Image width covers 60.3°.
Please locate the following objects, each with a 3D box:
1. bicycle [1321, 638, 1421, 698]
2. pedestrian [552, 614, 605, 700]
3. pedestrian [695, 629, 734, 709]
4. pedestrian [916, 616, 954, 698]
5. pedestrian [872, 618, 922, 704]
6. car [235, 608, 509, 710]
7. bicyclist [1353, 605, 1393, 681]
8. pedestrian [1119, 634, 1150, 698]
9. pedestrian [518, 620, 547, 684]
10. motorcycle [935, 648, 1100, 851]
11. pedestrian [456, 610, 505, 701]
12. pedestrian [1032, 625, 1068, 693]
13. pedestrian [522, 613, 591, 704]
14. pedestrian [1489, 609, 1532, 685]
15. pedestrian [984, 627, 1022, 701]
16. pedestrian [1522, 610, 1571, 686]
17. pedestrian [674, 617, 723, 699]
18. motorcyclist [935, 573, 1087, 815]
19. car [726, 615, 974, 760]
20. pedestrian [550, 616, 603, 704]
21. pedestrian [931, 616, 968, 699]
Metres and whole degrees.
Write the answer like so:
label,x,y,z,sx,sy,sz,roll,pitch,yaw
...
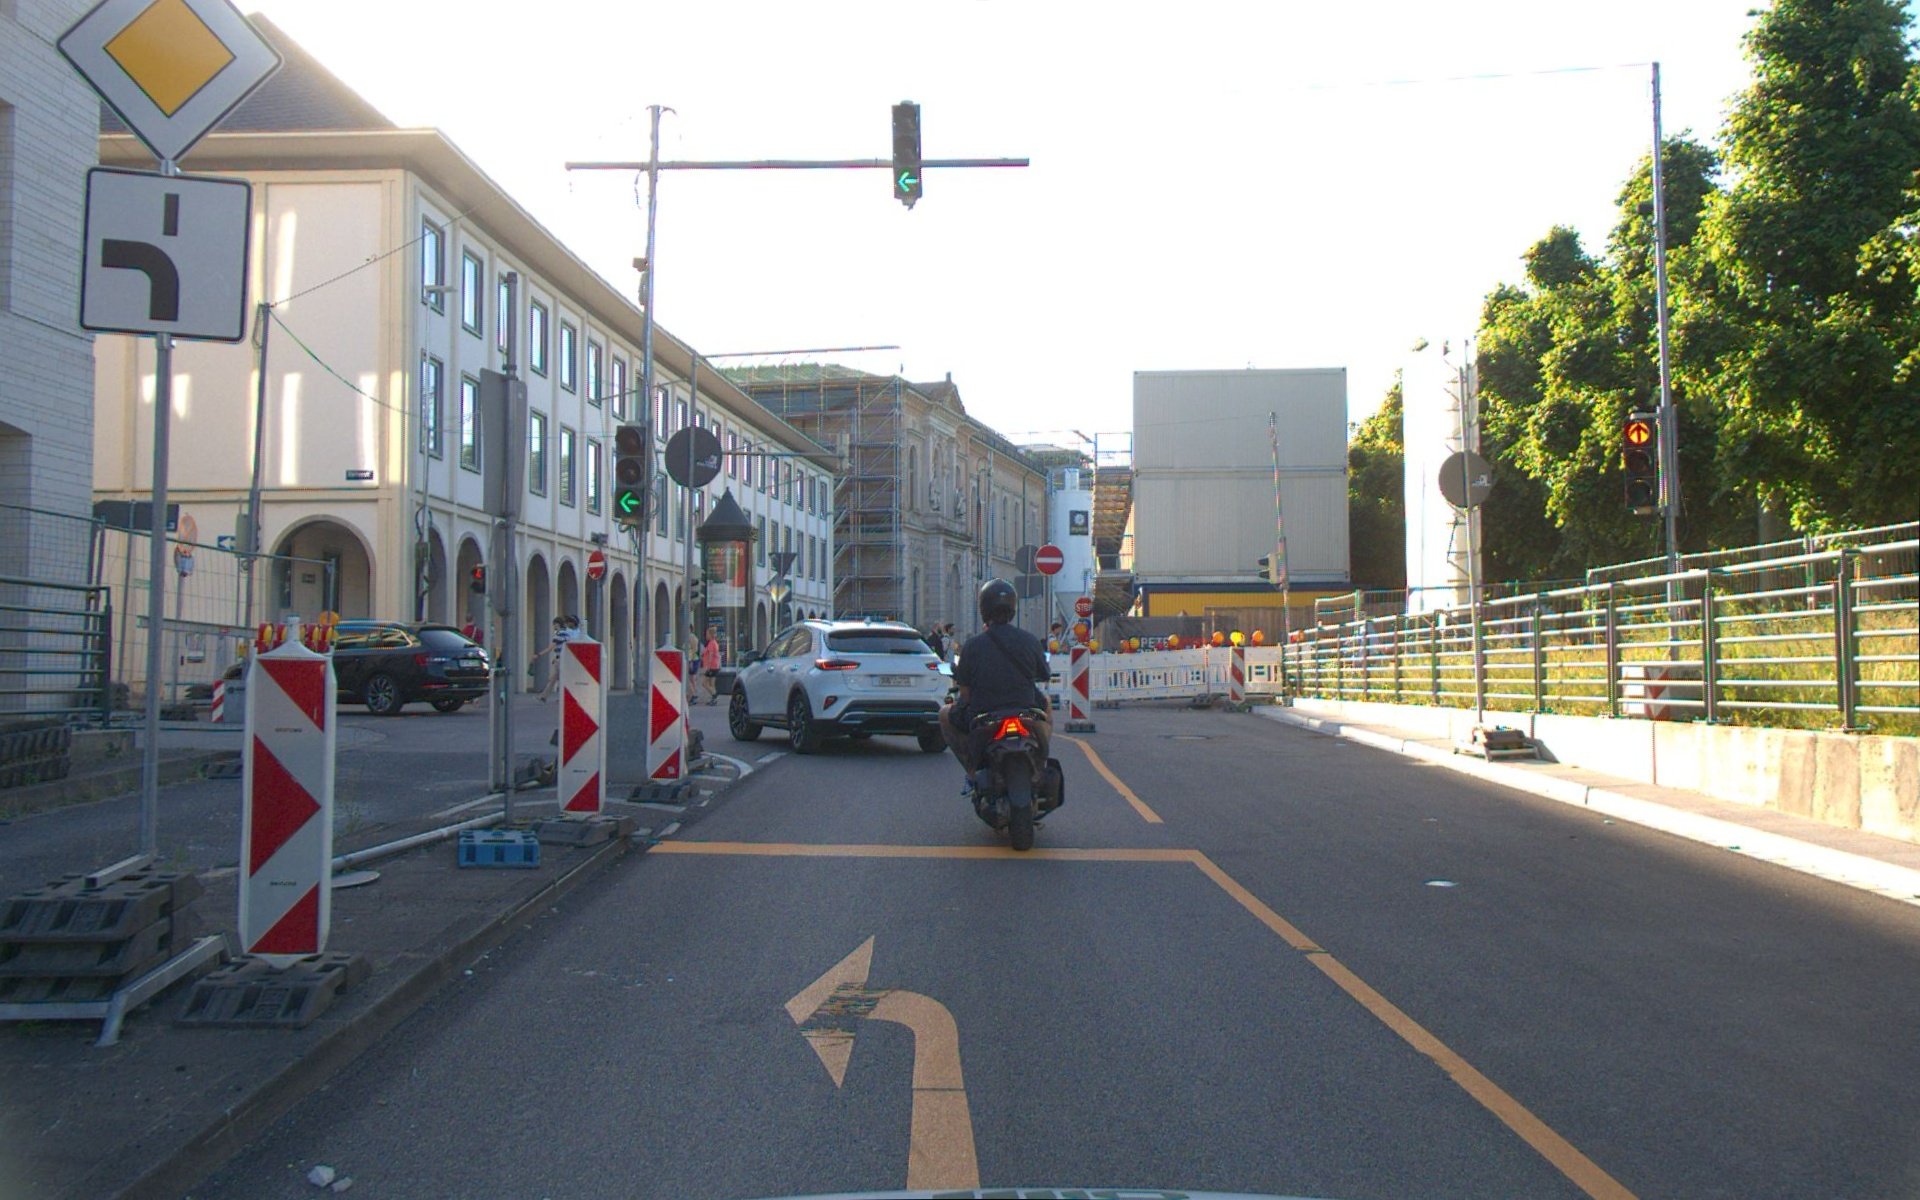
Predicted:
label,x,y,z,sx,sy,sz,roll,pitch,yaw
bicycle,8.511,1.406,34.253,1.950,1.222,0.477,0,-2,5
pedestrian,-8.149,1.206,35.366,0.918,1.809,0.711,0,0,2
pedestrian,-5.174,1.447,34.919,0.709,1.652,0.620,0,0,2
pedestrian,-0.547,1.248,36.090,0.721,1.746,0.622,-2,-2,5
pedestrian,-1.333,1.294,34.947,0.954,1.759,0.798,-2,-3,2
car,-9.616,0.969,27.083,4.008,1.577,1.780,-1,-2,20
bicyclist,8.560,0.894,34.263,0.687,1.543,0.686,0,-2,4
pedestrian,3.697,1.401,35.024,0.605,1.322,0.494,2,-2,5
pedestrian,-12.762,1.559,49.395,0.627,1.873,0.727,0,0,6
motorcycle,0.339,0.961,11.519,0.888,1.204,2.576,0,-1,-4
pedestrian,-9.906,1.138,34.180,0.757,1.833,0.711,0,0,2
pedestrian,2.023,1.318,37.174,0.752,1.488,0.666,-2,-2,5
pedestrian,-8.296,1.189,34.030,1.217,1.833,0.717,0,0,2
pedestrian,12.129,1.033,36.442,0.721,1.632,0.644,-2,-2,5
pedestrian,0.977,1.443,37.460,0.752,1.647,0.666,-2,-2,5
pedestrian,12.510,1.030,35.270,0.738,1.593,0.656,0,-2,-40
pedestrian,-5.655,1.247,35.815,0.945,1.739,0.675,0,0,2
motorcyclist,0.328,0.621,11.473,0.935,1.587,1.238,0,-1,-4
car,-1.432,0.968,19.843,1.833,1.498,3.974,1,0,-22
pedestrian,-8.055,1.248,34.780,0.918,1.809,0.711,0,0,2
pedestrian,-0.230,1.282,36.892,0.721,1.802,0.622,-2,-2,5
